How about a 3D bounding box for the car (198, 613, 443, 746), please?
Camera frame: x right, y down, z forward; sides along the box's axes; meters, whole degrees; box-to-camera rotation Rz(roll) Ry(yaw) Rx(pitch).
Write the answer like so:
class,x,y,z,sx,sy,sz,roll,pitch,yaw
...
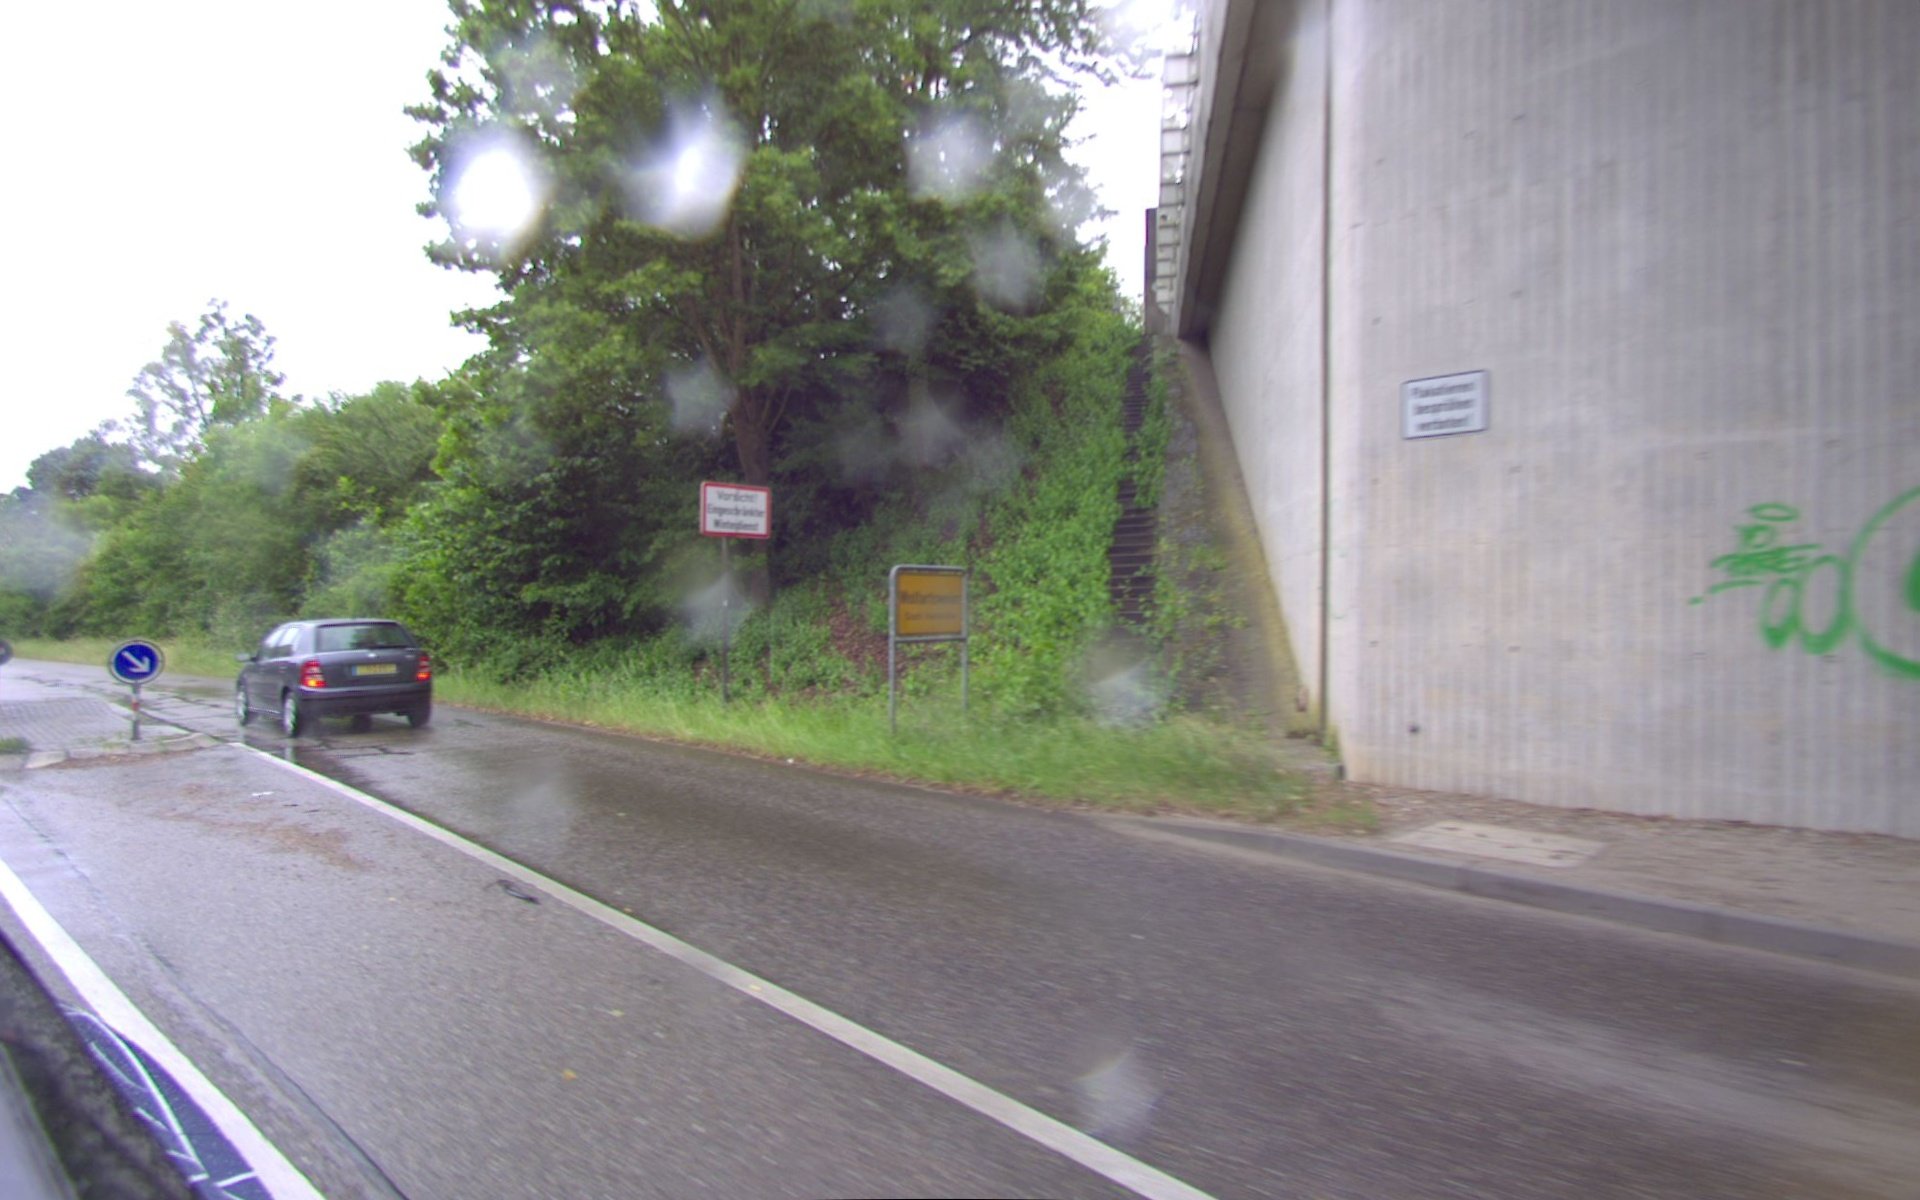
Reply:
class,x,y,z,sx,sy,sz,roll,pitch,yaw
car,-8.702,0.962,13.642,4.070,1.498,1.673,-1,0,41
